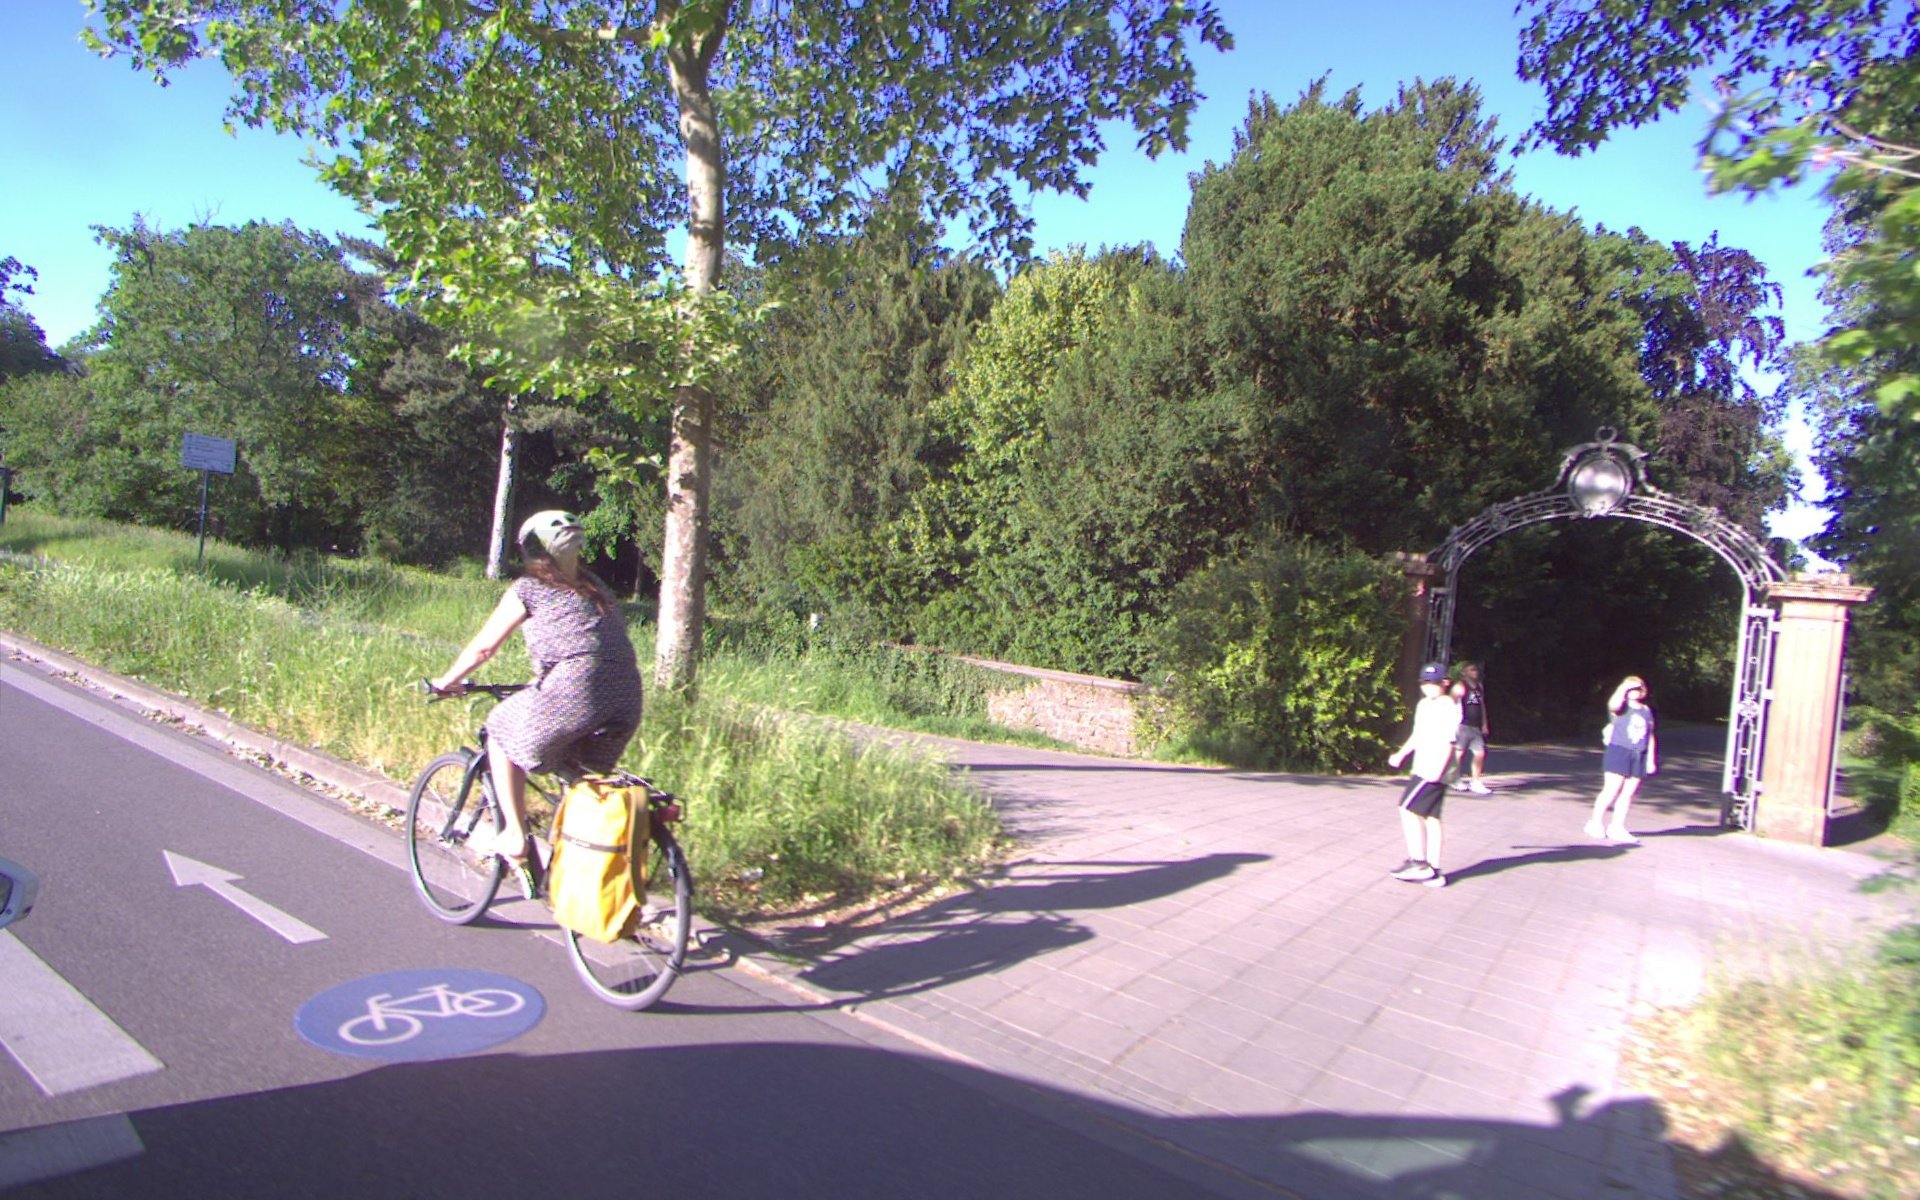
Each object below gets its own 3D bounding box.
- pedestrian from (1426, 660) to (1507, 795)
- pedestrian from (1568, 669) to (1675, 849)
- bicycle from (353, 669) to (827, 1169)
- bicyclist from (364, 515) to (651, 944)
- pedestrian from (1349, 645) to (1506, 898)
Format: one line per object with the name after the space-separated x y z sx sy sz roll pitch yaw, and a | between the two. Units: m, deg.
6.989 1.752 13.877 0.671 1.731 0.689 6 -1 41 | pedestrian
6.661 1.569 10.128 0.671 1.654 0.689 6 1 41 | pedestrian
-1.472 0.939 3.692 2.108 1.109 0.691 6 0 44 | bicycle
-1.833 0.464 4.067 0.790 1.509 0.691 6 1 43 | bicyclist
3.218 1.137 6.919 0.671 1.565 0.689 6 1 41 | pedestrian
